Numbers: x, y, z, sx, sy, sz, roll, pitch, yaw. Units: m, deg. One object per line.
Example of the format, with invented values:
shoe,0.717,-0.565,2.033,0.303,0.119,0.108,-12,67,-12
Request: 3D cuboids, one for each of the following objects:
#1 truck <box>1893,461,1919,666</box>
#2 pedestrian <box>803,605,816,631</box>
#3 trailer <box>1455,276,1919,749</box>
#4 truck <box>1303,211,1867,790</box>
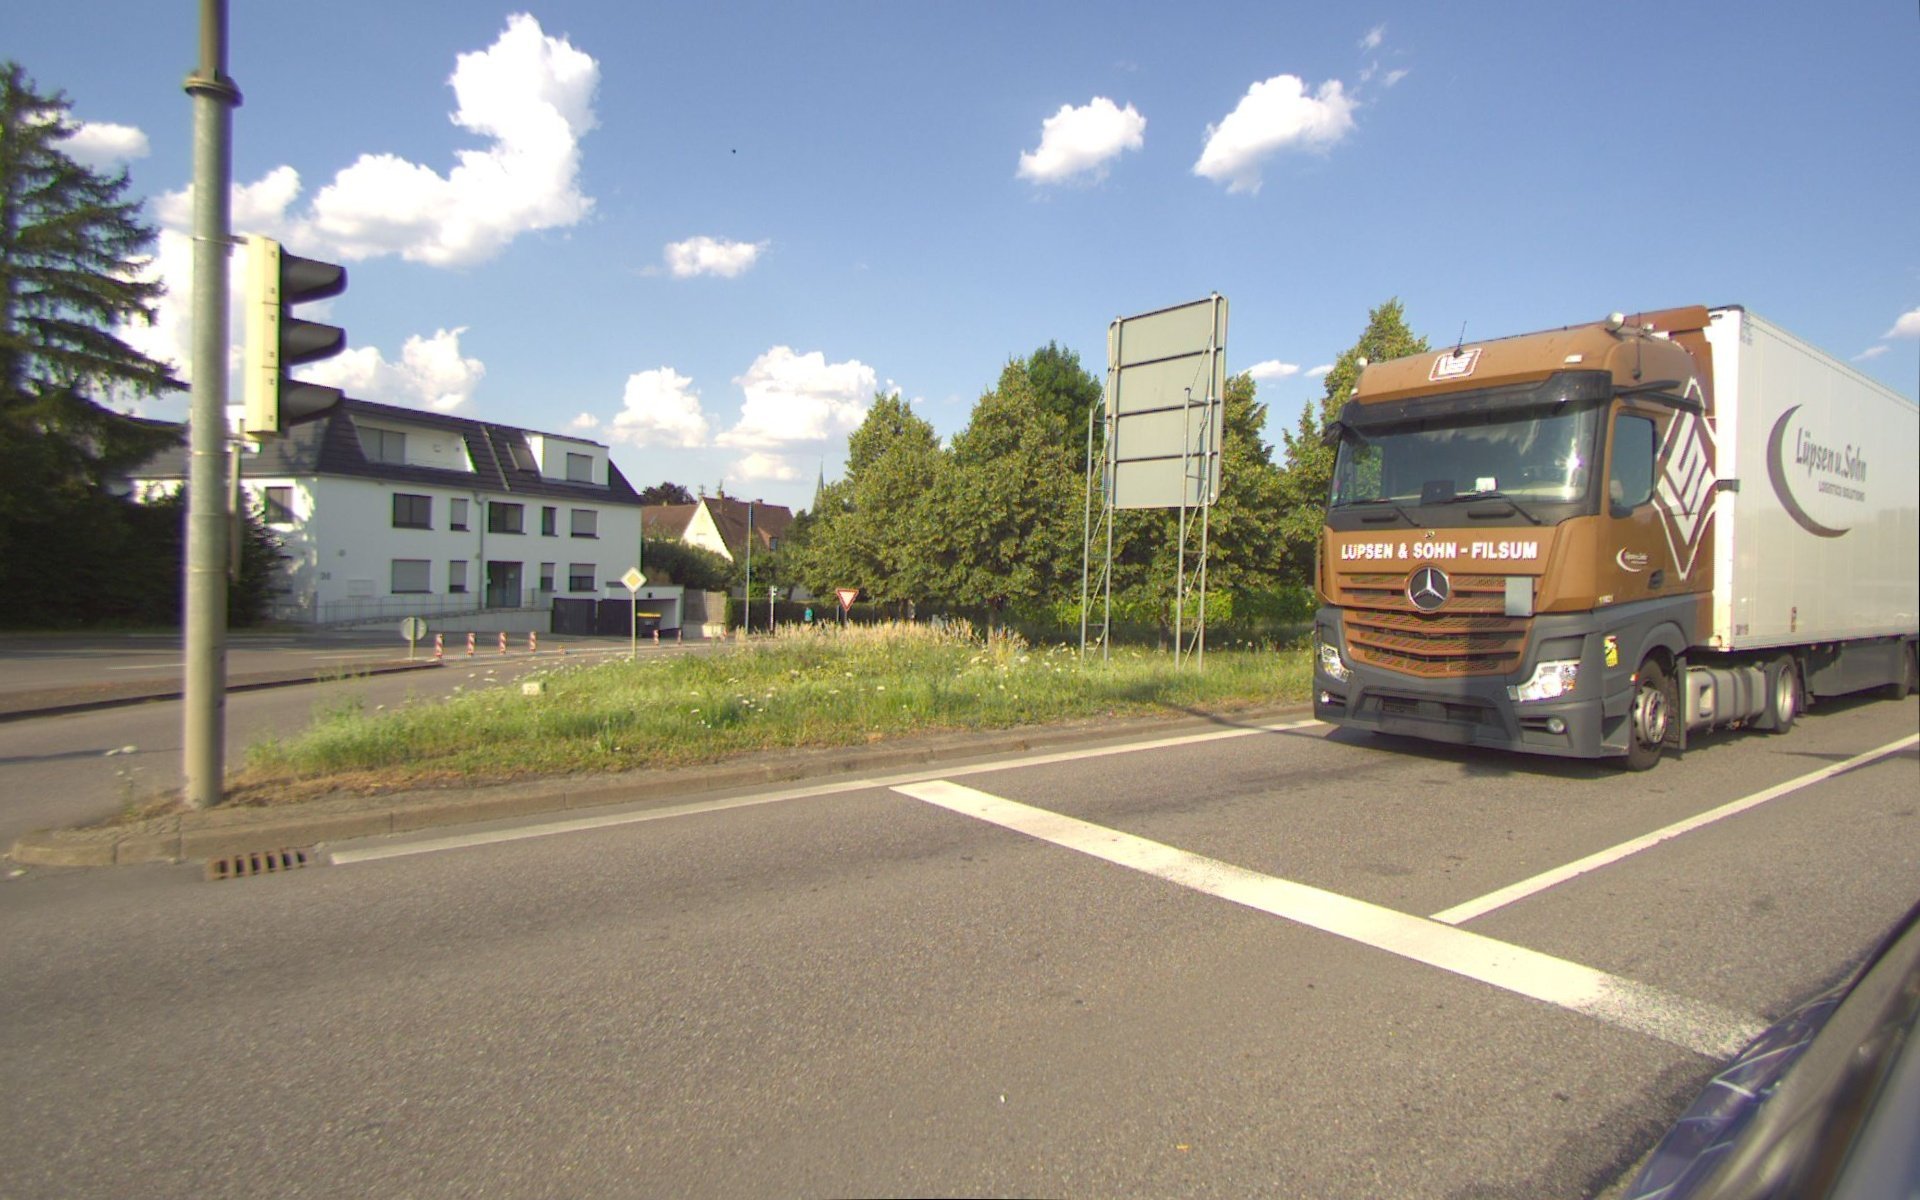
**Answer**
truck,20.685,-0.725,20.088,5.581,3.853,2.261,-1,0,-37
pedestrian,-10.102,1.223,68.071,0.611,1.750,0.635,0,0,23
trailer,11.689,-0.814,14.087,14.070,4.118,2.539,0,0,-37
truck,6.511,-0.759,10.129,6.538,4.094,2.539,-1,0,-36
